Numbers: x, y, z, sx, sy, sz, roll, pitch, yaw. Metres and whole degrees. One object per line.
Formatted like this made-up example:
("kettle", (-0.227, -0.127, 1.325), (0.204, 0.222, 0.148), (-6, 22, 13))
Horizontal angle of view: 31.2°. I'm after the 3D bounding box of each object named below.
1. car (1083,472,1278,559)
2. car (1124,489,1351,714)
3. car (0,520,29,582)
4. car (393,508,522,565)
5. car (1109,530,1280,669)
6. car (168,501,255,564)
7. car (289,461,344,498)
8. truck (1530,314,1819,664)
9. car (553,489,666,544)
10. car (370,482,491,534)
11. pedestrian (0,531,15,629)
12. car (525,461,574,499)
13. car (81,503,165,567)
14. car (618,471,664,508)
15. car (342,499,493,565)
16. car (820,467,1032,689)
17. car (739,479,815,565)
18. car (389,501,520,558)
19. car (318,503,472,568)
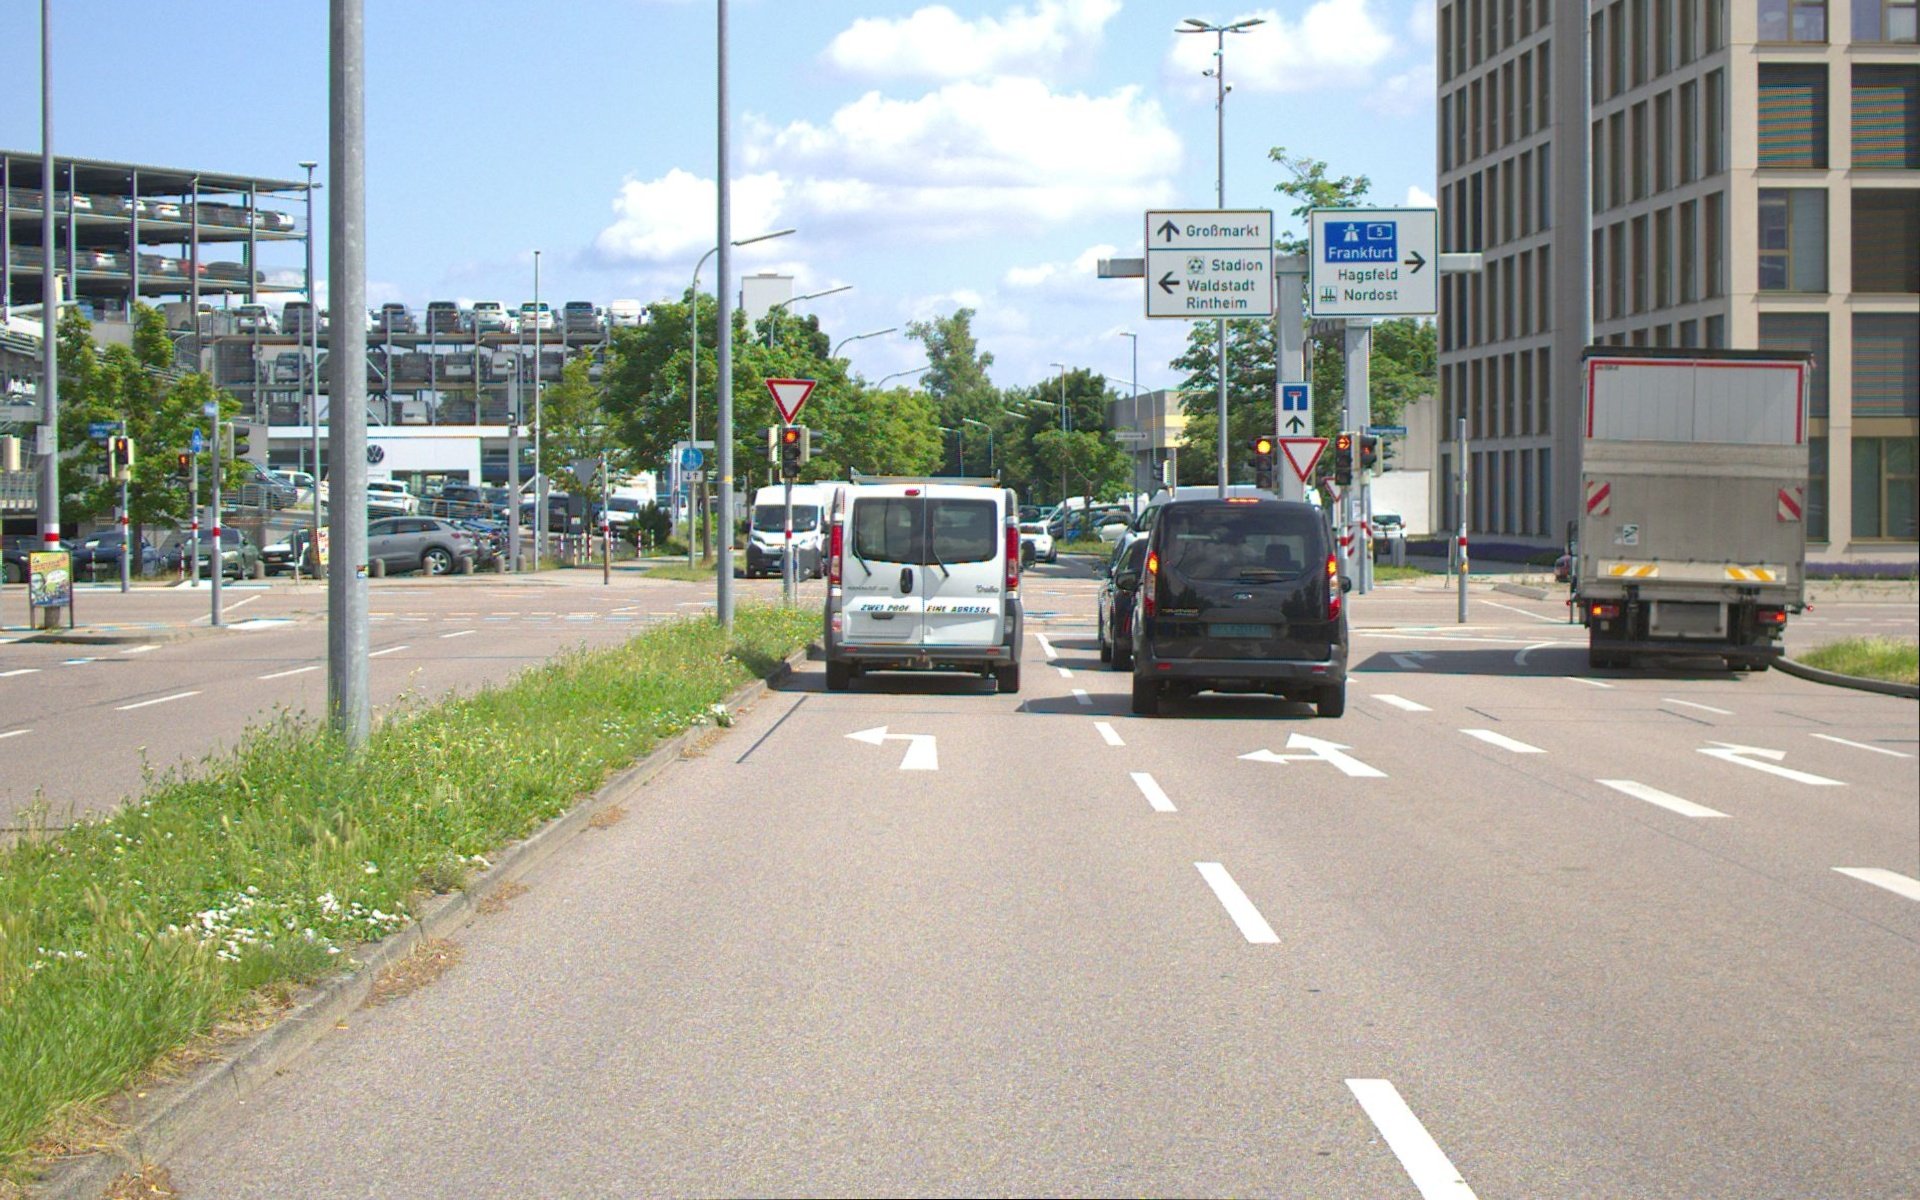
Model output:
("car", (5.941, -2.322, 93.335), (1.994, 2.247, 5.513), (-1, 3, -40))
("car", (2.380, -0.036, 30.226), (1.820, 1.802, 4.000), (1, 1, 3))
("car", (-25.426, -1.255, 86.130), (3.791, 1.508, 1.679), (0, 2, -5))
("car", (-16.040, -2.043, 109.931), (3.912, 1.707, 1.689), (-1, 2, -3))
("car", (2.667, -0.035, 39.871), (1.740, 1.490, 4.000), (1, 1, 1))
("car", (-18.990, -1.721, 87.111), (1.816, 1.546, 4.001), (1, 1, -17))
("car", (-27.215, -5.098, 145.576), (1.846, 1.524, 4.001), (0, 2, -4))
("truck", (9.004, -1.333, 43.263), (3.131, 3.927, 8.853), (1, 1, 12))
("car", (-12.602, -3.004, 123.536), (3.986, 1.919, 1.827), (1, 1, -6))
("car", (-18.905, -3.303, 122.830), (4.164, 1.707, 1.689), (2, 2, -6))
("pedestrian", (-14.904, -0.311, 52.921), (0.470, 1.507, 0.511), (1, 1, 25))
("car", (-17.221, -5.034, 144.360), (1.846, 1.524, 4.001), (0, 2, -4))
("car", (-21.097, -1.644, 86.553), (1.816, 1.546, 4.001), (1, 1, -17))
("car", (-13.386, -4.640, 144.569), (1.846, 1.524, 4.001), (0, 2, -4))
("car", (-14.912, -1.874, 94.595), (3.912, 1.707, 1.689), (-1, 2, -3))
("car", (-0.273, -0.235, 33.665), (1.856, 2.011, 4.000), (1, 1, 2))
("car", (-5.054, -2.176, 94.805), (1.971, 2.248, 4.981), (-1, 2, -3))
("car", (-15.814, -2.217, 107.697), (3.912, 1.707, 1.689), (-1, 2, -3))
("car", (-15.106, -1.732, 92.077), (3.861, 1.634, 1.858), (-1, 2, -3))
